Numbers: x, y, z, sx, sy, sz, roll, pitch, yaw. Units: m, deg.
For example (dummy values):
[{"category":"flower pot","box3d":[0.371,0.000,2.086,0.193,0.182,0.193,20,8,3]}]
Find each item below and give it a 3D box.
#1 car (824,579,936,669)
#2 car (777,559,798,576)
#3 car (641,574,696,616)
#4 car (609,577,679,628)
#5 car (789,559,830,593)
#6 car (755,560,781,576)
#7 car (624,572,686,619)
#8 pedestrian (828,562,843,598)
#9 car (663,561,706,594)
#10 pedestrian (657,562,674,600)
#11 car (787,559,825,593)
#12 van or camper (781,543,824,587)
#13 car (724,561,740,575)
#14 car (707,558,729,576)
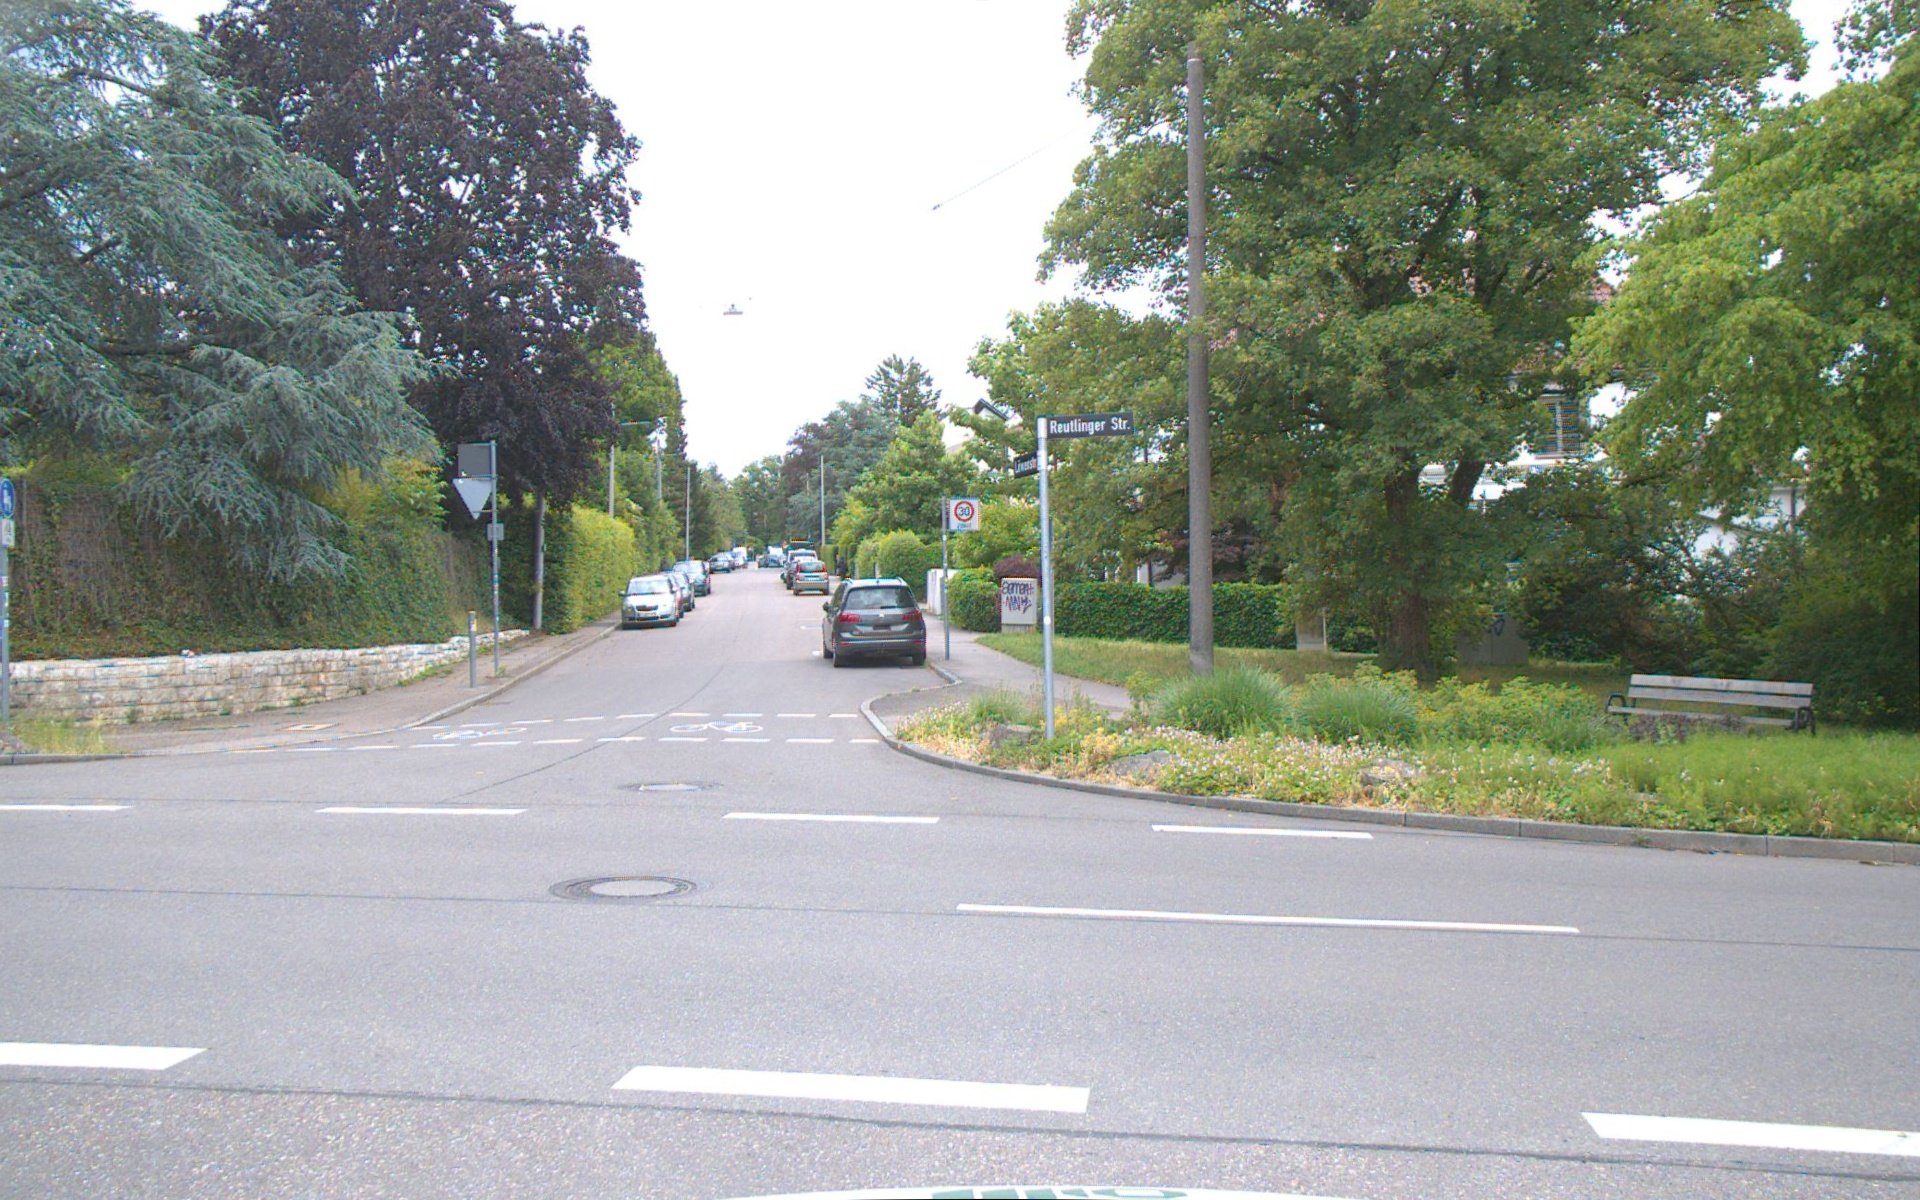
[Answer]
[{"category":"car","box3d":[-1.594,0.399,31.583,1.783,1.563,3.994,-2,1,-7]},{"category":"car","box3d":[-18.973,-3.584,181.932,1.905,1.827,4.184,1,1,-11]},{"category":"car","box3d":[-10.723,-0.219,61.064,1.910,1.467,3.992,-1,1,-9]},{"category":"car","box3d":[-9.612,0.052,50.538,1.910,1.467,3.992,-1,1,-9]},{"category":"car","box3d":[-6.815,-1.082,74.691,1.579,1.438,3.465,1,1,-10]},{"category":"car","box3d":[-20.402,-3.385,175.777,1.790,1.601,3.973,-1,1,-22]},{"category":"car","box3d":[-10.213,-0.169,55.644,1.910,1.467,3.992,-1,1,-9]},{"category":"pedestrian","box3d":[-6.667,-1.047,88.299,0.742,1.904,0.619,1,0,-7]},{"category":"car","box3d":[-13.101,-1.073,78.794,1.910,1.467,3.992,-1,1,-9]},{"category":"pedestrian","box3d":[-16.164,-1.037,90.801,0.838,2.049,0.870,1,0,-13]},{"category":"car","box3d":[-7.890,-1.235,84.413,1.714,1.668,3.721,-1,1,-9]},{"category":"van or camper","box3d":[-9.196,-2.017,96.218,2.074,2.446,5.235,-1,1,-9]},{"category":"car","box3d":[-23.840,-3.326,173.156,1.624,1.358,3.775,1,1,-8]},{"category":"car","box3d":[-20.242,-2.748,138.414,1.682,1.488,3.651,1,1,-7]}]
